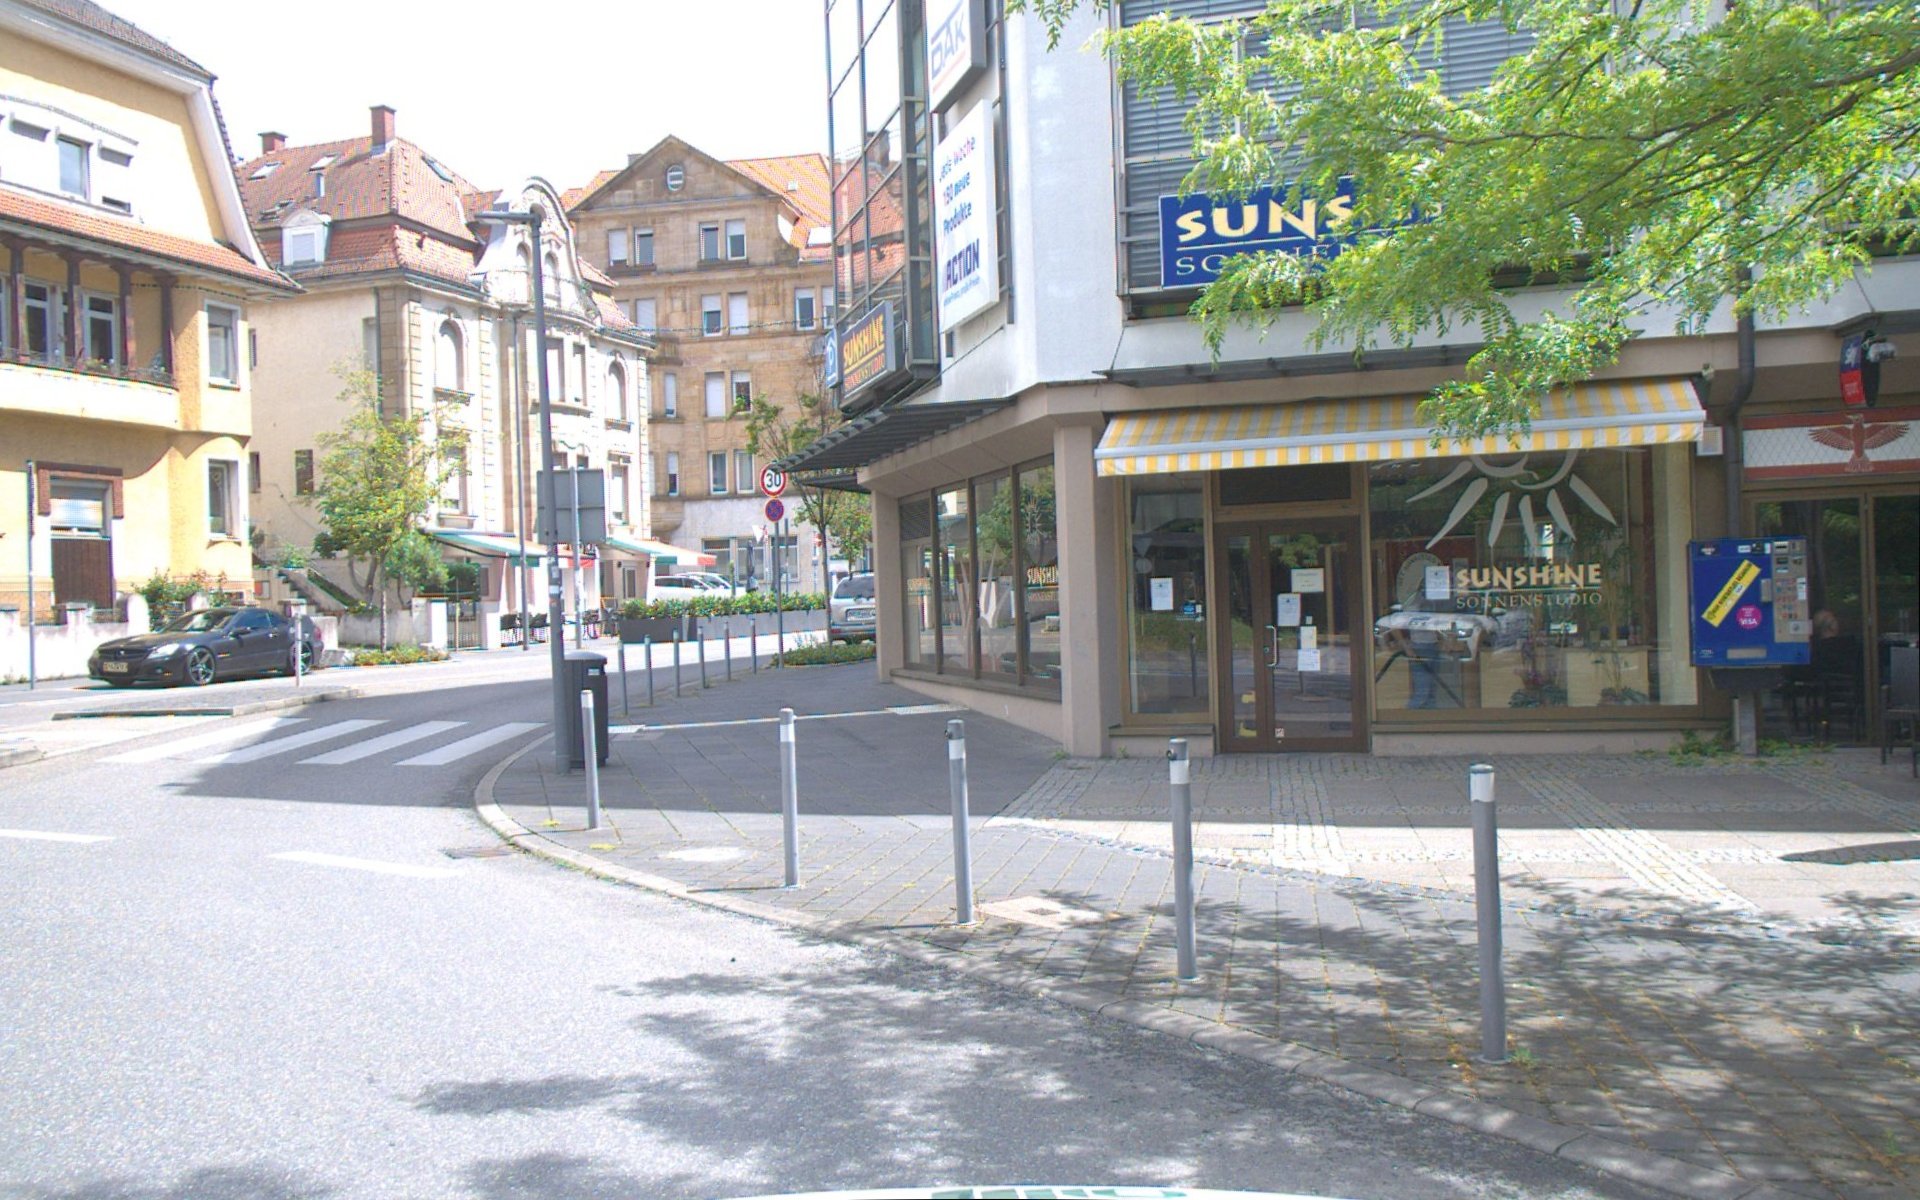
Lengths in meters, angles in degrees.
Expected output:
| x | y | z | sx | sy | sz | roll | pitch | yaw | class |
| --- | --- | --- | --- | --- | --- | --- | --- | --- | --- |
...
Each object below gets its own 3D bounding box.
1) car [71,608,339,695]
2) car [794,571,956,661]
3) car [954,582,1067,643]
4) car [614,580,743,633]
| x | y | z | sx | sy | sz | roll | pitch | yaw | class |
| --- | --- | --- | --- | --- | --- | --- | --- | --- | --- |
| -13.202 | 0.863 | 29.241 | 1.674 | 1.267 | 4.413 | -1 | 1 | 20 | car |
| -1.737 | 0.299 | 35.427 | 1.787 | 1.761 | 4.233 | -3 | 0 | 22 | car |
| 1.475 | 0.317 | 46.583 | 1.787 | 1.545 | 4.233 | -3 | 0 | 22 | car |
| -10.394 | 0.237 | 61.230 | 4.326 | 1.806 | 2.001 | -1 | 0 | 3 | car |
